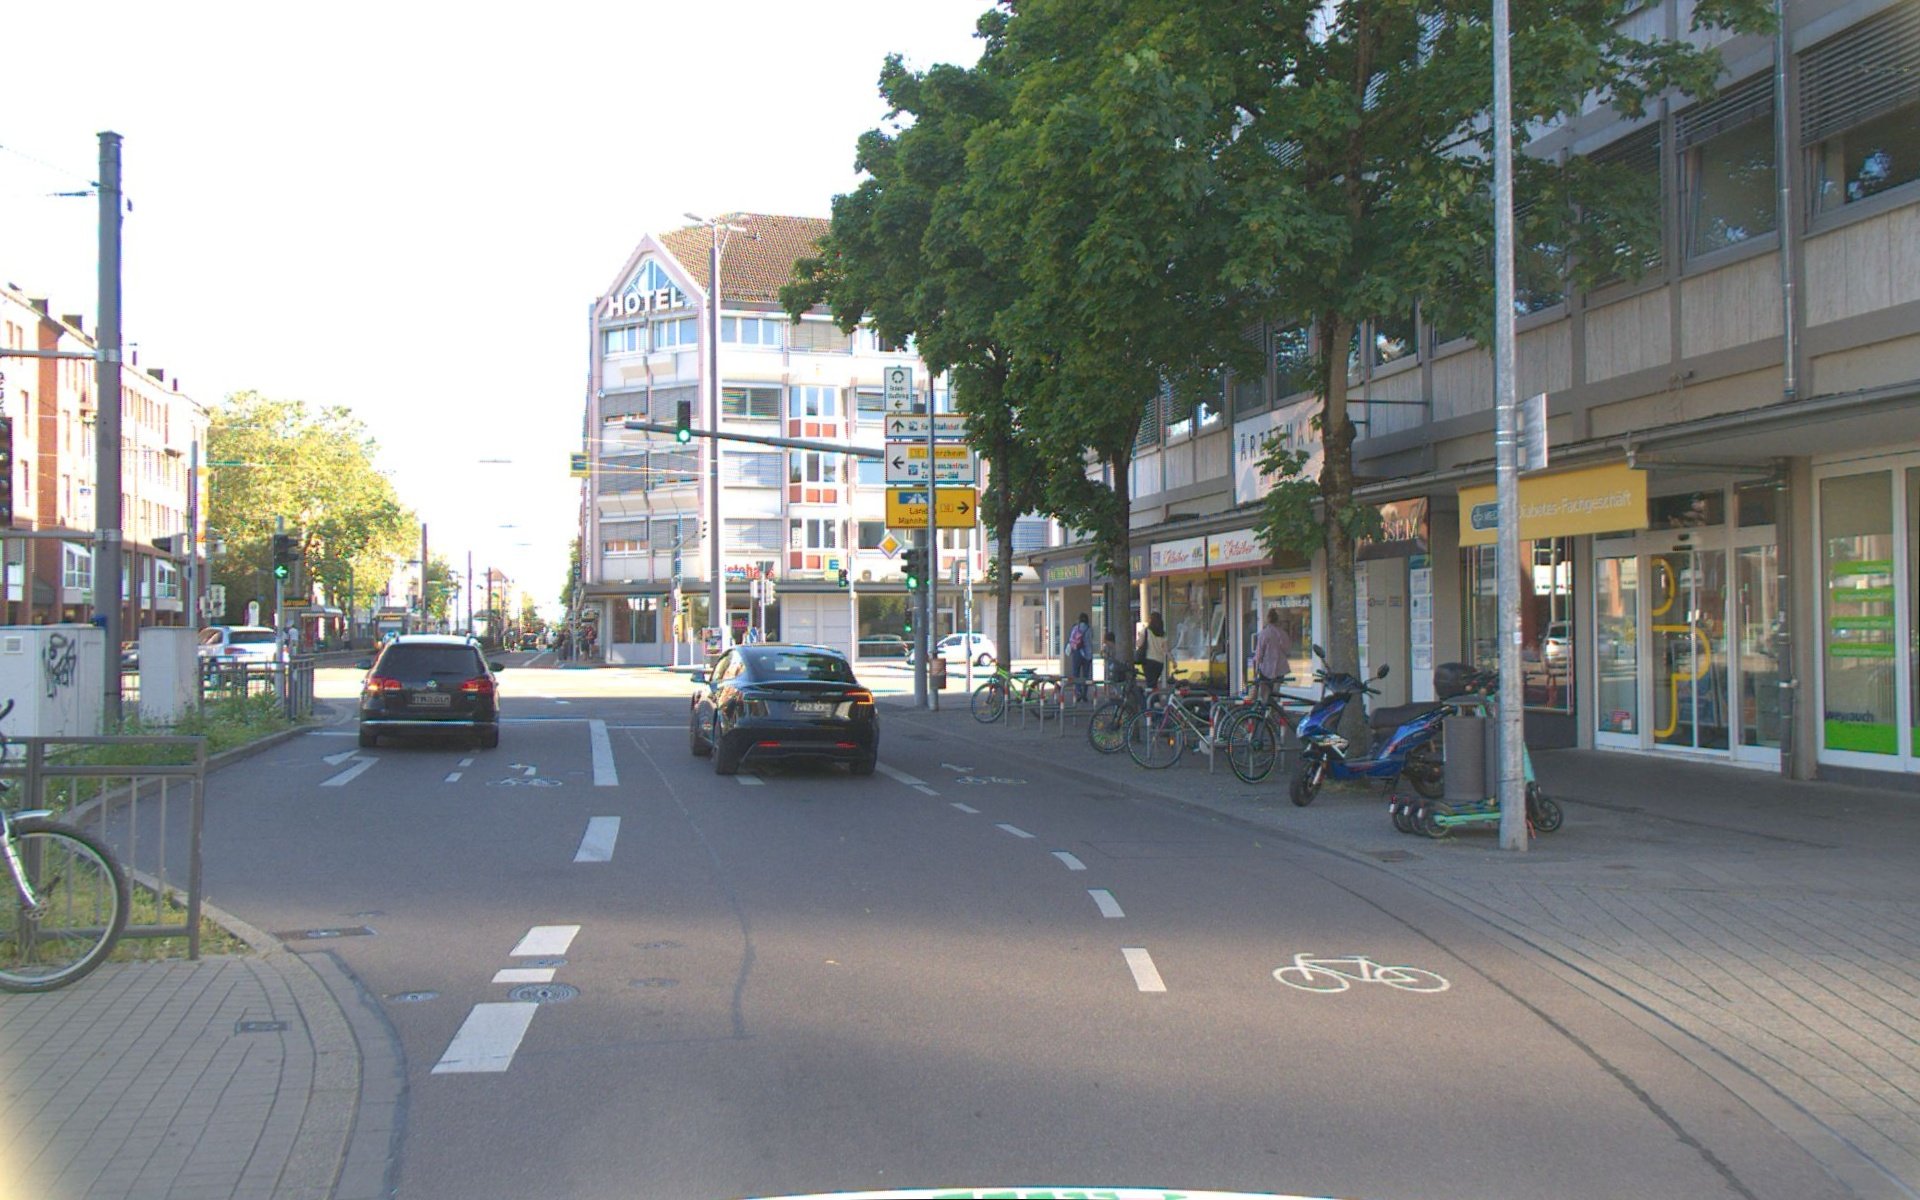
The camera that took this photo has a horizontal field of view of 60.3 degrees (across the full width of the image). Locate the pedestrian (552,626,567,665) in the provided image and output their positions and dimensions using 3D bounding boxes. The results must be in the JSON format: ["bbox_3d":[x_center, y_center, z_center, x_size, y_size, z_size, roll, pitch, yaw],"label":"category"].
[{"bbox_3d":[-18.638,2.108,76.999,0.615,1.814,0.914,0,-2,-13],"label":"pedestrian"}]

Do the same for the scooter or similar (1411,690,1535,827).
[{"bbox_3d":[4.054,1.245,13.083,0.946,1.045,0.159,-1,-1,-9],"label":"scooter or similar"}]

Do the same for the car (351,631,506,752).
[{"bbox_3d":[-7.338,1.167,22.594,1.739,1.469,4.499,1,-1,-21],"label":"car"}]

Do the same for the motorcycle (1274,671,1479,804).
[{"bbox_3d":[3.776,1.226,15.004,1.756,1.149,0.502,0,-2,-13],"label":"motorcycle"}]

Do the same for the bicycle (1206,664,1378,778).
[{"bbox_3d":[3.453,1.237,17.162,1.825,1.074,0.396,-2,-1,-23],"label":"bicycle"}]

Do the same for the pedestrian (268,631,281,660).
[{"bbox_3d":[-36.507,2.413,88.037,0.577,1.558,0.631,1,-2,-29],"label":"pedestrian"}]

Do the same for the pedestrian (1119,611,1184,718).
[{"bbox_3d":[3.144,1.051,27.235,0.828,1.737,0.877,0,-2,-12],"label":"pedestrian"}]

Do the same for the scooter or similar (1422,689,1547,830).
[{"bbox_3d":[4.089,1.237,12.886,0.938,1.057,0.159,-1,-1,-9],"label":"scooter or similar"}]

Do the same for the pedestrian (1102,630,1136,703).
[{"bbox_3d":[3.171,1.325,33.082,0.631,1.447,0.621,0,-2,2],"label":"pedestrian"}]

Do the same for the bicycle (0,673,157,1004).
[{"bbox_3d":[-4.108,0.912,6.305,1.805,1.233,0.633,1,-2,-36],"label":"bicycle"}]

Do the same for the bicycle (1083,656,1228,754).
[{"bbox_3d":[2.484,1.315,20.989,1.780,1.172,0.433,-1,-2,-16],"label":"bicycle"}]

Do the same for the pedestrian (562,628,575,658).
[{"bbox_3d":[-20.814,2.298,87.898,0.469,1.590,0.536,1,-2,-42],"label":"pedestrian"}]

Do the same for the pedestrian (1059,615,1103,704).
[{"bbox_3d":[2.425,1.191,33.186,0.825,1.751,0.880,0,-2,1],"label":"pedestrian"}]

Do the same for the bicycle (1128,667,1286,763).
[{"bbox_3d":[2.840,1.312,19.052,1.733,1.075,0.457,0,-2,-7],"label":"bicycle"}]

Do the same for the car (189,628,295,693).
[{"bbox_3d":[-19.318,1.607,44.453,1.826,1.664,3.438,1,-2,-38],"label":"car"}]

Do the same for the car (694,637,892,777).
[{"bbox_3d":[-2.076,1.194,19.556,1.760,1.476,3.924,2,-2,-14],"label":"car"}]

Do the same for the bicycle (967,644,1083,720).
[{"bbox_3d":[1.090,1.374,27.846,1.856,1.177,0.479,-2,-1,-11],"label":"bicycle"}]

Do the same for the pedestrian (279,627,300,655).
[{"bbox_3d":[-39.377,2.419,97.111,1.089,1.653,0.842,0,-2,-22],"label":"pedestrian"}]

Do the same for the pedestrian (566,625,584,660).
[{"bbox_3d":[-19.790,2.165,85.072,0.899,1.785,0.836,0,-2,-13],"label":"pedestrian"}]

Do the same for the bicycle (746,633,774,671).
[{"bbox_3d":[-8.011,2.051,66.076,0.575,1.489,1.671,0,-1,-26],"label":"bicycle"}]

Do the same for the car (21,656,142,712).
[{"bbox_3d":[-27.021,2.557,50.856,3.701,1.646,1.574,-1,-2,31],"label":"car"}]

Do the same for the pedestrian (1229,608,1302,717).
[{"bbox_3d":[4.680,0.953,25.396,0.828,1.630,0.877,0,-2,-12],"label":"pedestrian"}]

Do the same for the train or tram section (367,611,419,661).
[{"bbox_3d":[-42.655,2.739,124.604,2.682,3.605,10.050,0,-2,-13],"label":"train or tram section"}]

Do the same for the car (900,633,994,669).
[{"bbox_3d":[-0.589,2.231,72.344,3.779,1.457,1.795,0,-3,-17],"label":"car"}]

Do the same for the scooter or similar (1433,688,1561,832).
[{"bbox_3d":[4.120,1.223,12.691,0.946,1.061,0.159,-1,-1,-9],"label":"scooter or similar"}]

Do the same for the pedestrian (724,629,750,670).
[{"bbox_3d":[-8.869,1.961,65.761,0.770,1.604,0.860,1,0,-26],"label":"pedestrian"}]
